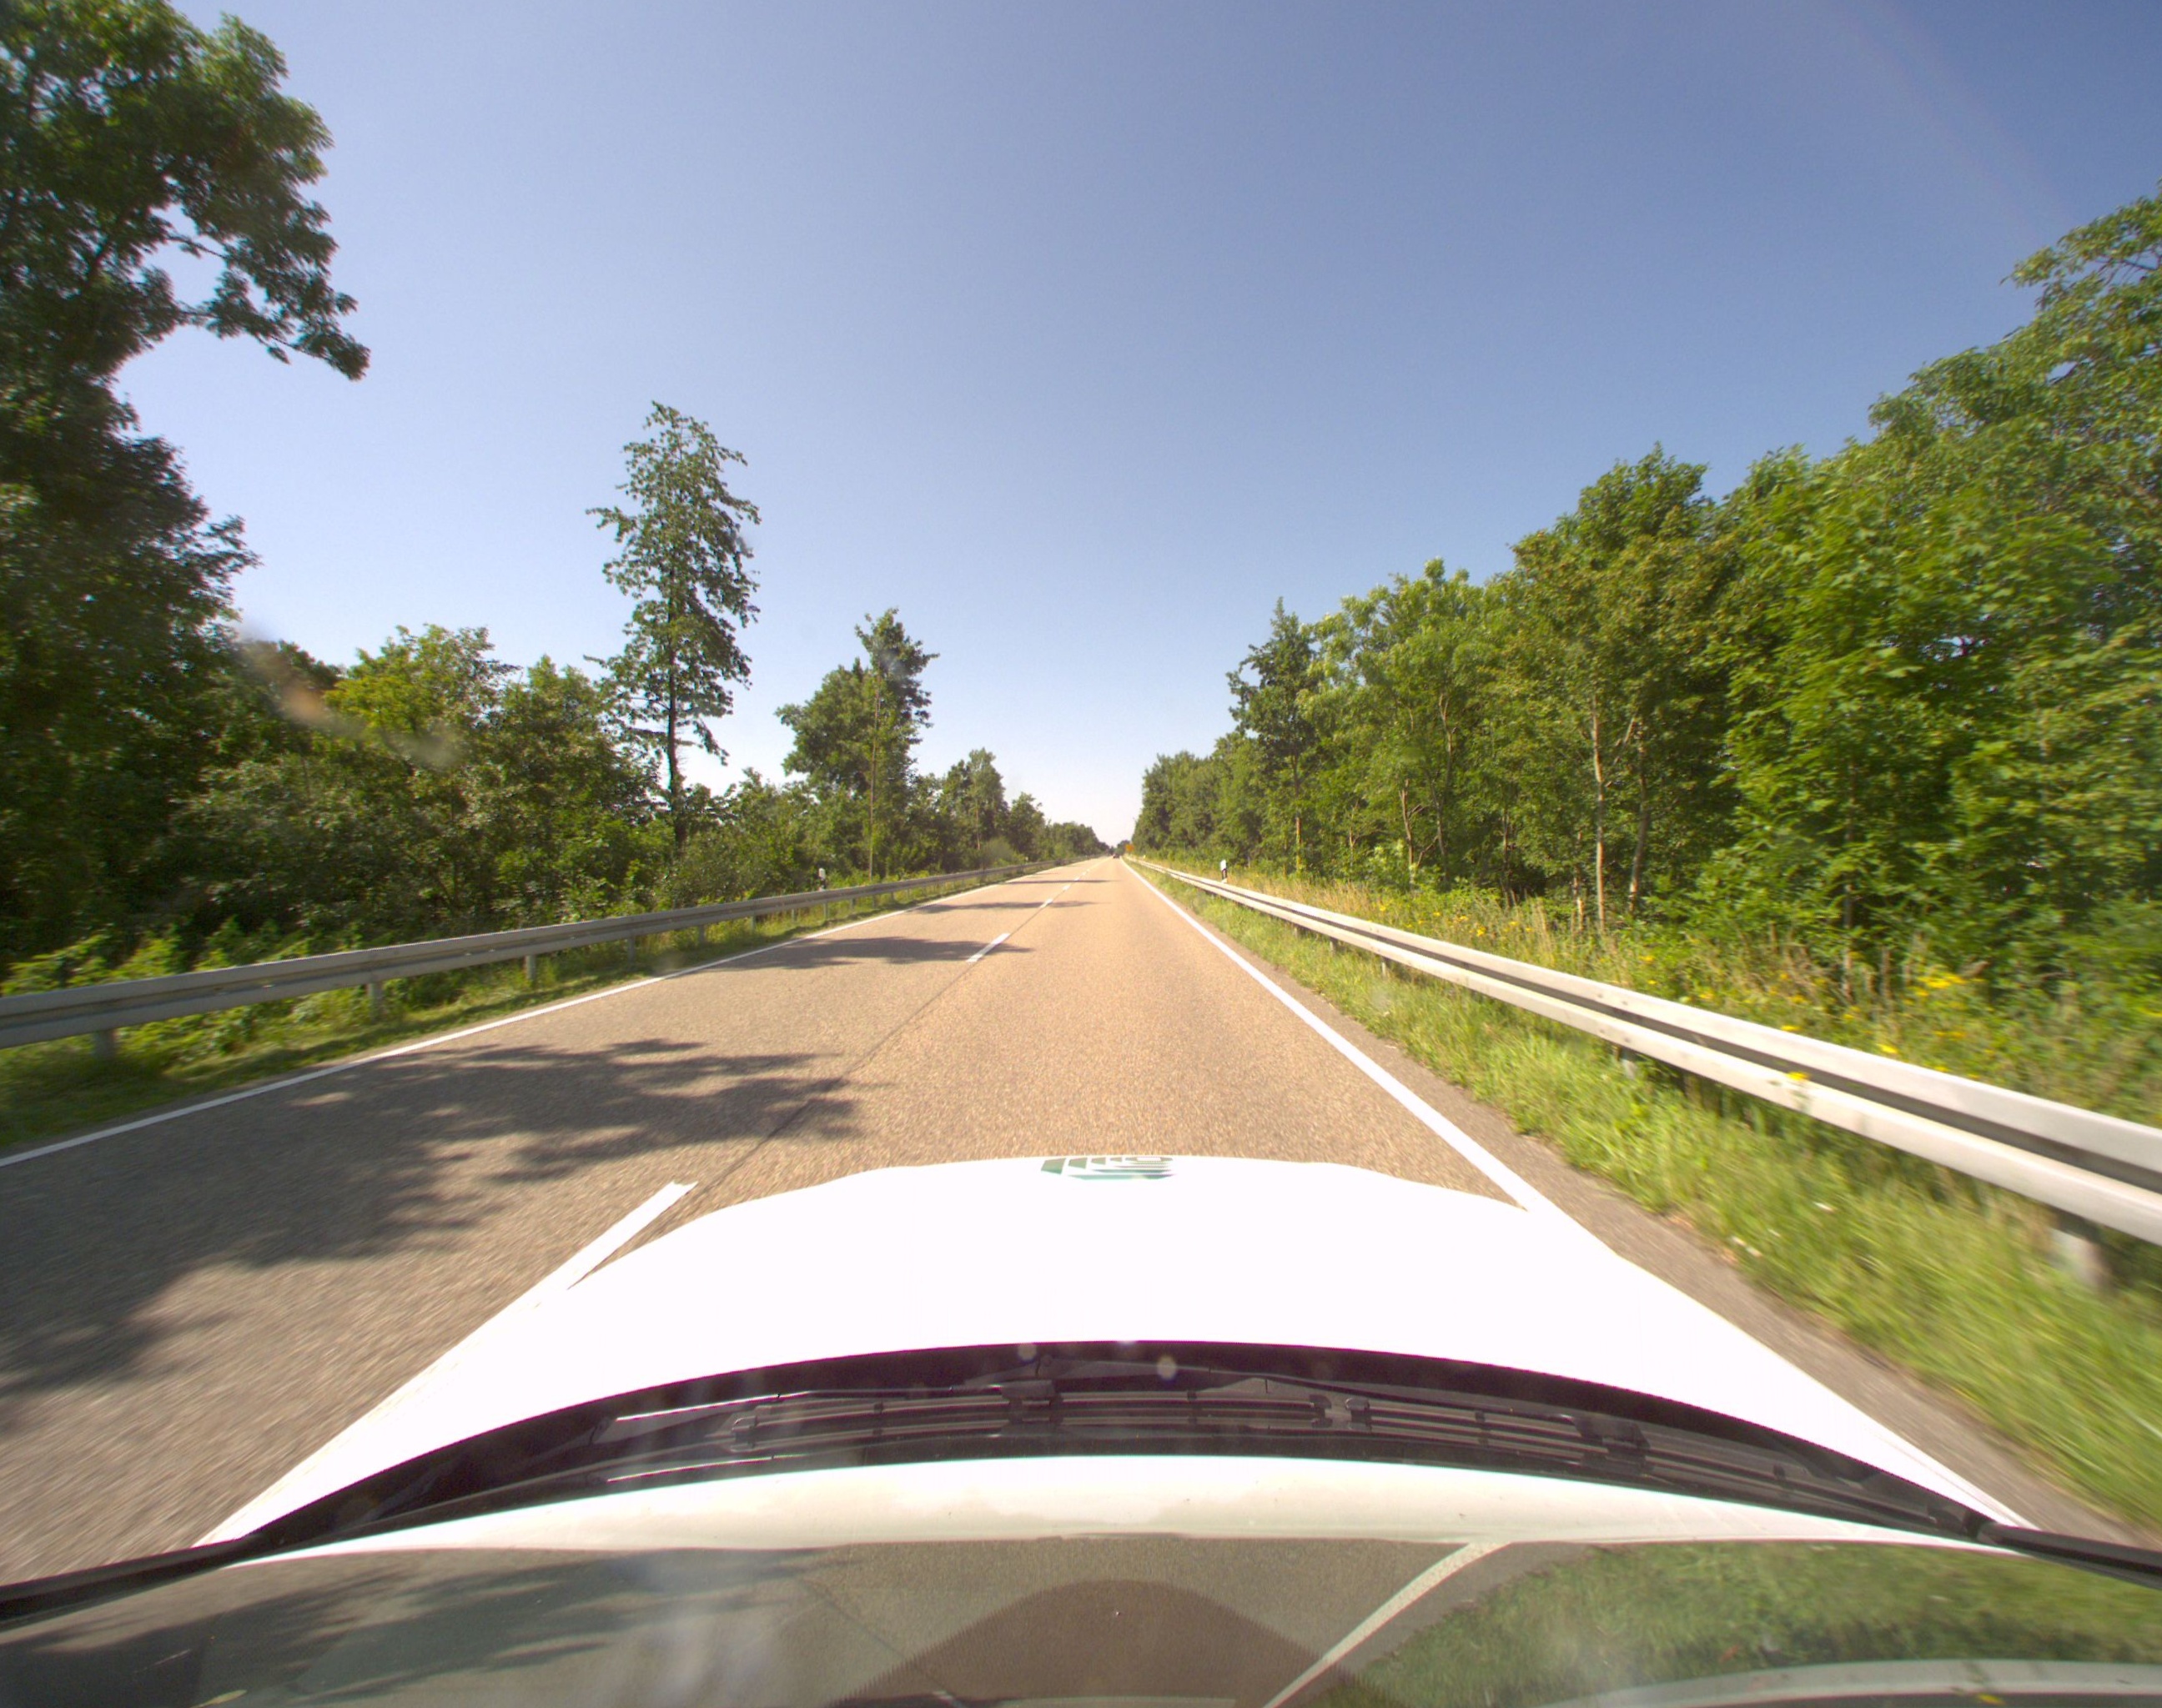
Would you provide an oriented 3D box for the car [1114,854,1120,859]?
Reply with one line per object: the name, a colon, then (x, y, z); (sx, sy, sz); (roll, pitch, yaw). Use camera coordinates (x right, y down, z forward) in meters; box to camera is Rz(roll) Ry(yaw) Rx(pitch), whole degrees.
car: (10.069, 0.707, 228.822); (1.733, 1.470, 3.696); (-1, 0, 4)
